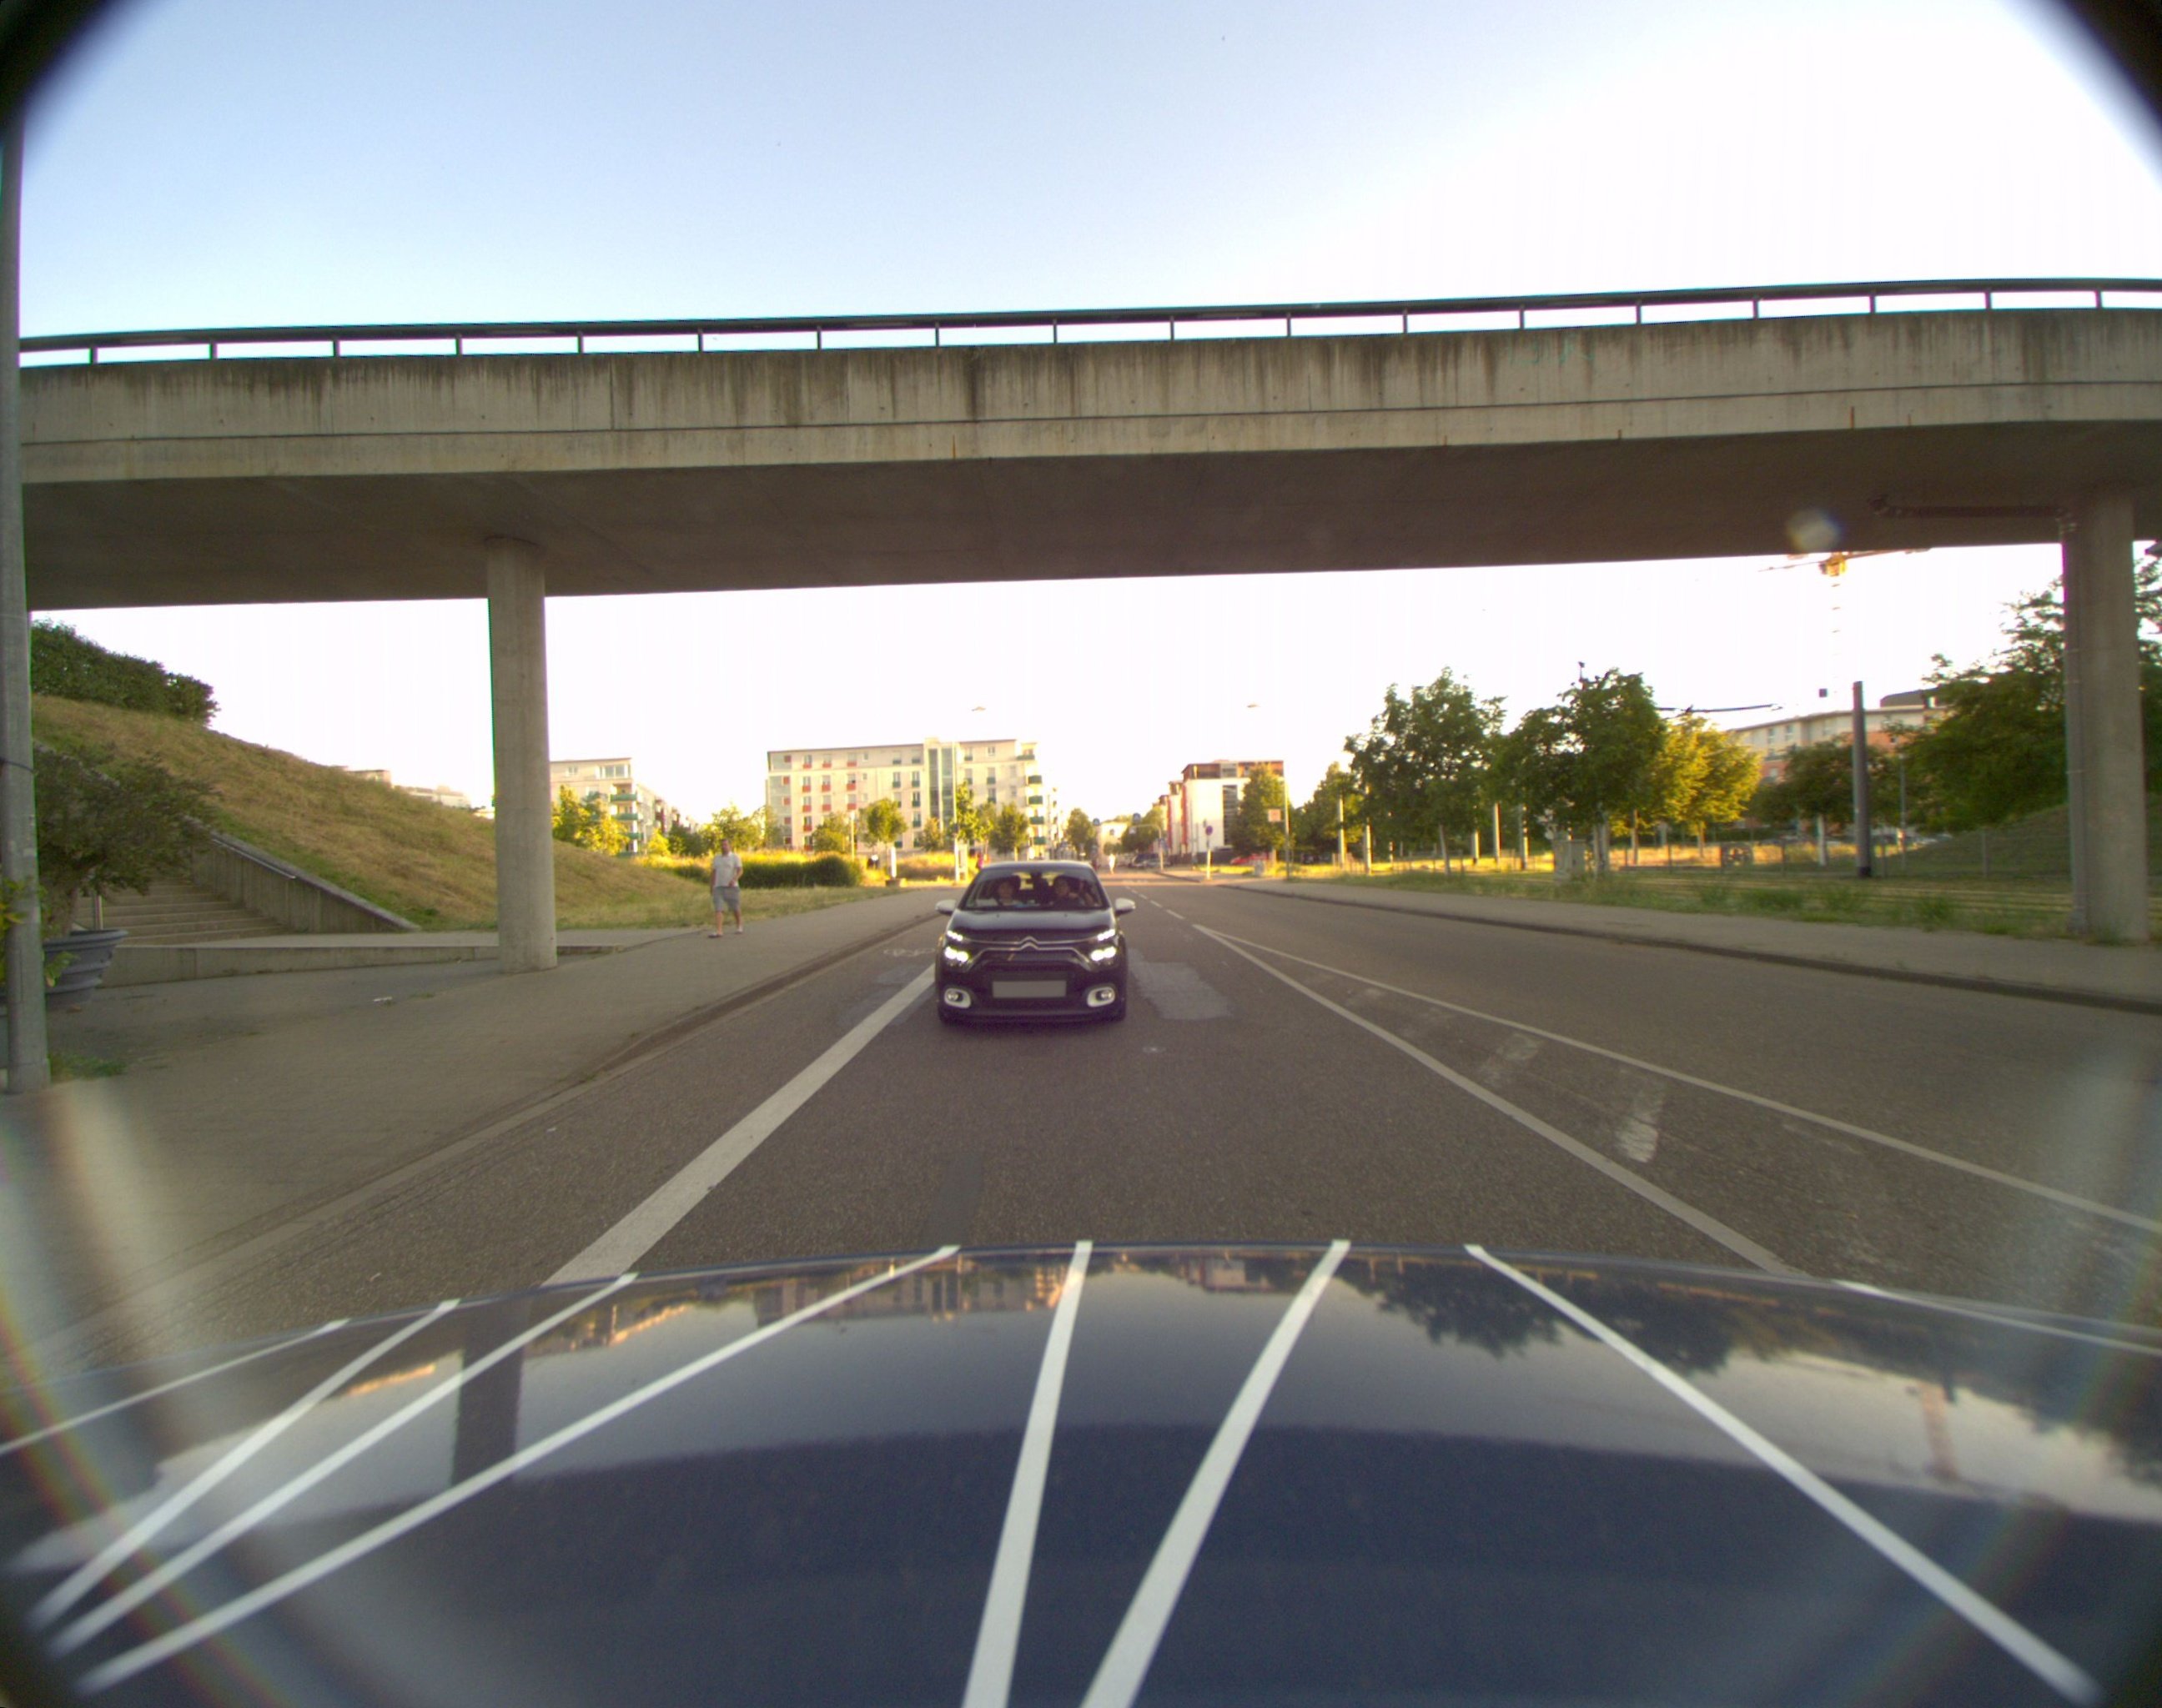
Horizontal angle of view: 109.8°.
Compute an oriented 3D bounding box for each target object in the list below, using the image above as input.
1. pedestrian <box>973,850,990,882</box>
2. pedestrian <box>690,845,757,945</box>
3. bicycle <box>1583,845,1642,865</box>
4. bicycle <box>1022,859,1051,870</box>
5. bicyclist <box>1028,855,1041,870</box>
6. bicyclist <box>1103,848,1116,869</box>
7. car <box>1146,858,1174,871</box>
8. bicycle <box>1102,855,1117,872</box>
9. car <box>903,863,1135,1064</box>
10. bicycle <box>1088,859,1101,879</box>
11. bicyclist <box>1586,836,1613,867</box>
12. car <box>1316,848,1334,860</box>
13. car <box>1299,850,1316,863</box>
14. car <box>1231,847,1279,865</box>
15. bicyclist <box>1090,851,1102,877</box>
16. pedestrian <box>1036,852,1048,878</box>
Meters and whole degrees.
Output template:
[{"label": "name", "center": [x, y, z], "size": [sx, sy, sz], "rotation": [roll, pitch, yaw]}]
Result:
[{"label": "pedestrian", "center": [-5.079, 0.597, 38.692], "size": [0.737, 1.620, 0.859], "rotation": [0, 0, 2]}, {"label": "pedestrian", "center": [-6.303, 0.702, 13.443], "size": [0.737, 1.714, 0.906], "rotation": [0, 0, 1]}, {"label": "bicycle", "center": [28.852, 0.042, 41.257], "size": [2.842, 1.002, 0.655], "rotation": [-2, 0, -4]}, {"label": "bicycle", "center": [-5.097, 1.211, 86.675], "size": [3.489, 1.142, 0.902], "rotation": [-2, 0, 40]}, {"label": "bicyclist", "center": [-5.320, 0.978, 86.755], "size": [0.935, 1.585, 1.065], "rotation": [-2, 0, -44]}, {"label": "bicyclist", "center": [2.593, 0.434, 68.999], "size": [0.882, 1.865, 1.035], "rotation": [-2, 0, 12]}, {"label": "car", "center": [11.813, 1.530, 113.725], "size": [3.996, 1.718, 2.000], "rotation": [-2, 0, 2]}, {"label": "bicycle", "center": [2.594, 0.811, 69.152], "size": [0.886, 1.483, 3.323], "rotation": [-2, 0, 9]}, {"label": "car", "center": [-0.442, 0.871, 7.857], "size": [1.739, 1.455, 4.000], "rotation": [-2, 0, 1]}, {"label": "bicycle", "center": [0.874, 0.970, 49.118], "size": [0.662, 1.217, 2.440], "rotation": [-2, 0, 4]}, {"label": "bicyclist", "center": [28.121, -0.137, 41.191], "size": [0.910, 1.622, 0.717], "rotation": [-2, 0, -4]}, {"label": "car", "center": [31.051, -0.008, 96.711], "size": [1.942, 1.521, 4.004], "rotation": [-2, 0, 14]}, {"label": "car", "center": [28.805, 0.306, 96.725], "size": [1.942, 1.521, 4.004], "rotation": [-2, 0, 14]}, {"label": "car", "center": [21.206, 0.247, 92.778], "size": [5.517, 2.002, 2.002], "rotation": [-2, 0, 11]}, {"label": "bicyclist", "center": [0.975, 0.620, 48.855], "size": [0.697, 1.630, 0.852], "rotation": [-2, 0, 4]}, {"label": "pedestrian", "center": [-2.565, 0.725, 49.454], "size": [0.737, 1.714, 0.532], "rotation": [0, 0, 1]}]
